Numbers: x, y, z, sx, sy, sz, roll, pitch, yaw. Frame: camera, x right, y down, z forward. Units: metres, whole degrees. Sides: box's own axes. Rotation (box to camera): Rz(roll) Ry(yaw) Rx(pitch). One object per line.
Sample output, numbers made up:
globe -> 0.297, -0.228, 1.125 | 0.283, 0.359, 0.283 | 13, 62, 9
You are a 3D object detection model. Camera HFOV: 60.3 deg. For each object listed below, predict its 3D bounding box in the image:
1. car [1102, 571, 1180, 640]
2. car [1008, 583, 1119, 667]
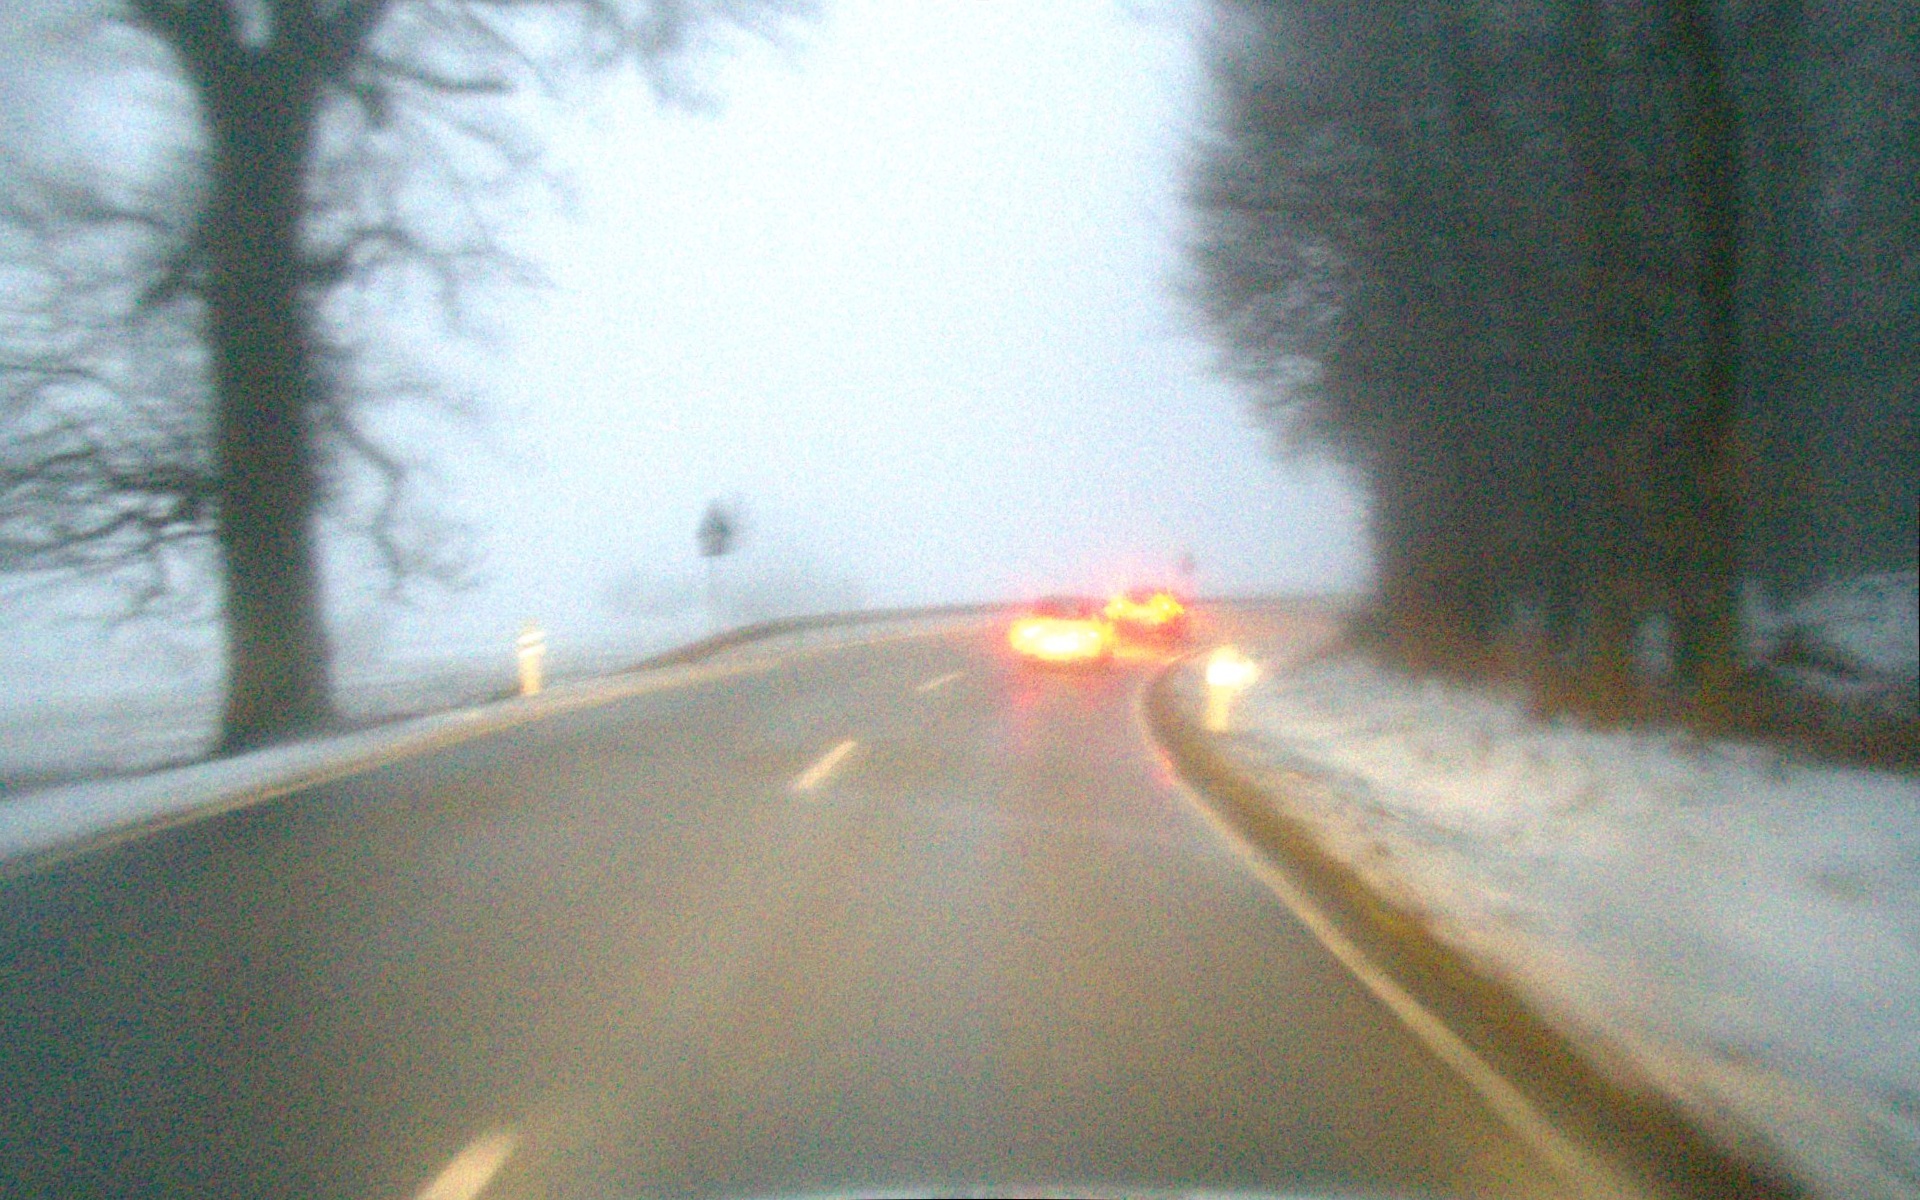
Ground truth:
car -> 5.053, 0.096, 45.772 | 1.951, 1.814, 4.004 | 0, 1, 9
car -> 2.091, 0.444, 32.395 | 1.904, 1.405, 4.004 | -1, 2, 7
